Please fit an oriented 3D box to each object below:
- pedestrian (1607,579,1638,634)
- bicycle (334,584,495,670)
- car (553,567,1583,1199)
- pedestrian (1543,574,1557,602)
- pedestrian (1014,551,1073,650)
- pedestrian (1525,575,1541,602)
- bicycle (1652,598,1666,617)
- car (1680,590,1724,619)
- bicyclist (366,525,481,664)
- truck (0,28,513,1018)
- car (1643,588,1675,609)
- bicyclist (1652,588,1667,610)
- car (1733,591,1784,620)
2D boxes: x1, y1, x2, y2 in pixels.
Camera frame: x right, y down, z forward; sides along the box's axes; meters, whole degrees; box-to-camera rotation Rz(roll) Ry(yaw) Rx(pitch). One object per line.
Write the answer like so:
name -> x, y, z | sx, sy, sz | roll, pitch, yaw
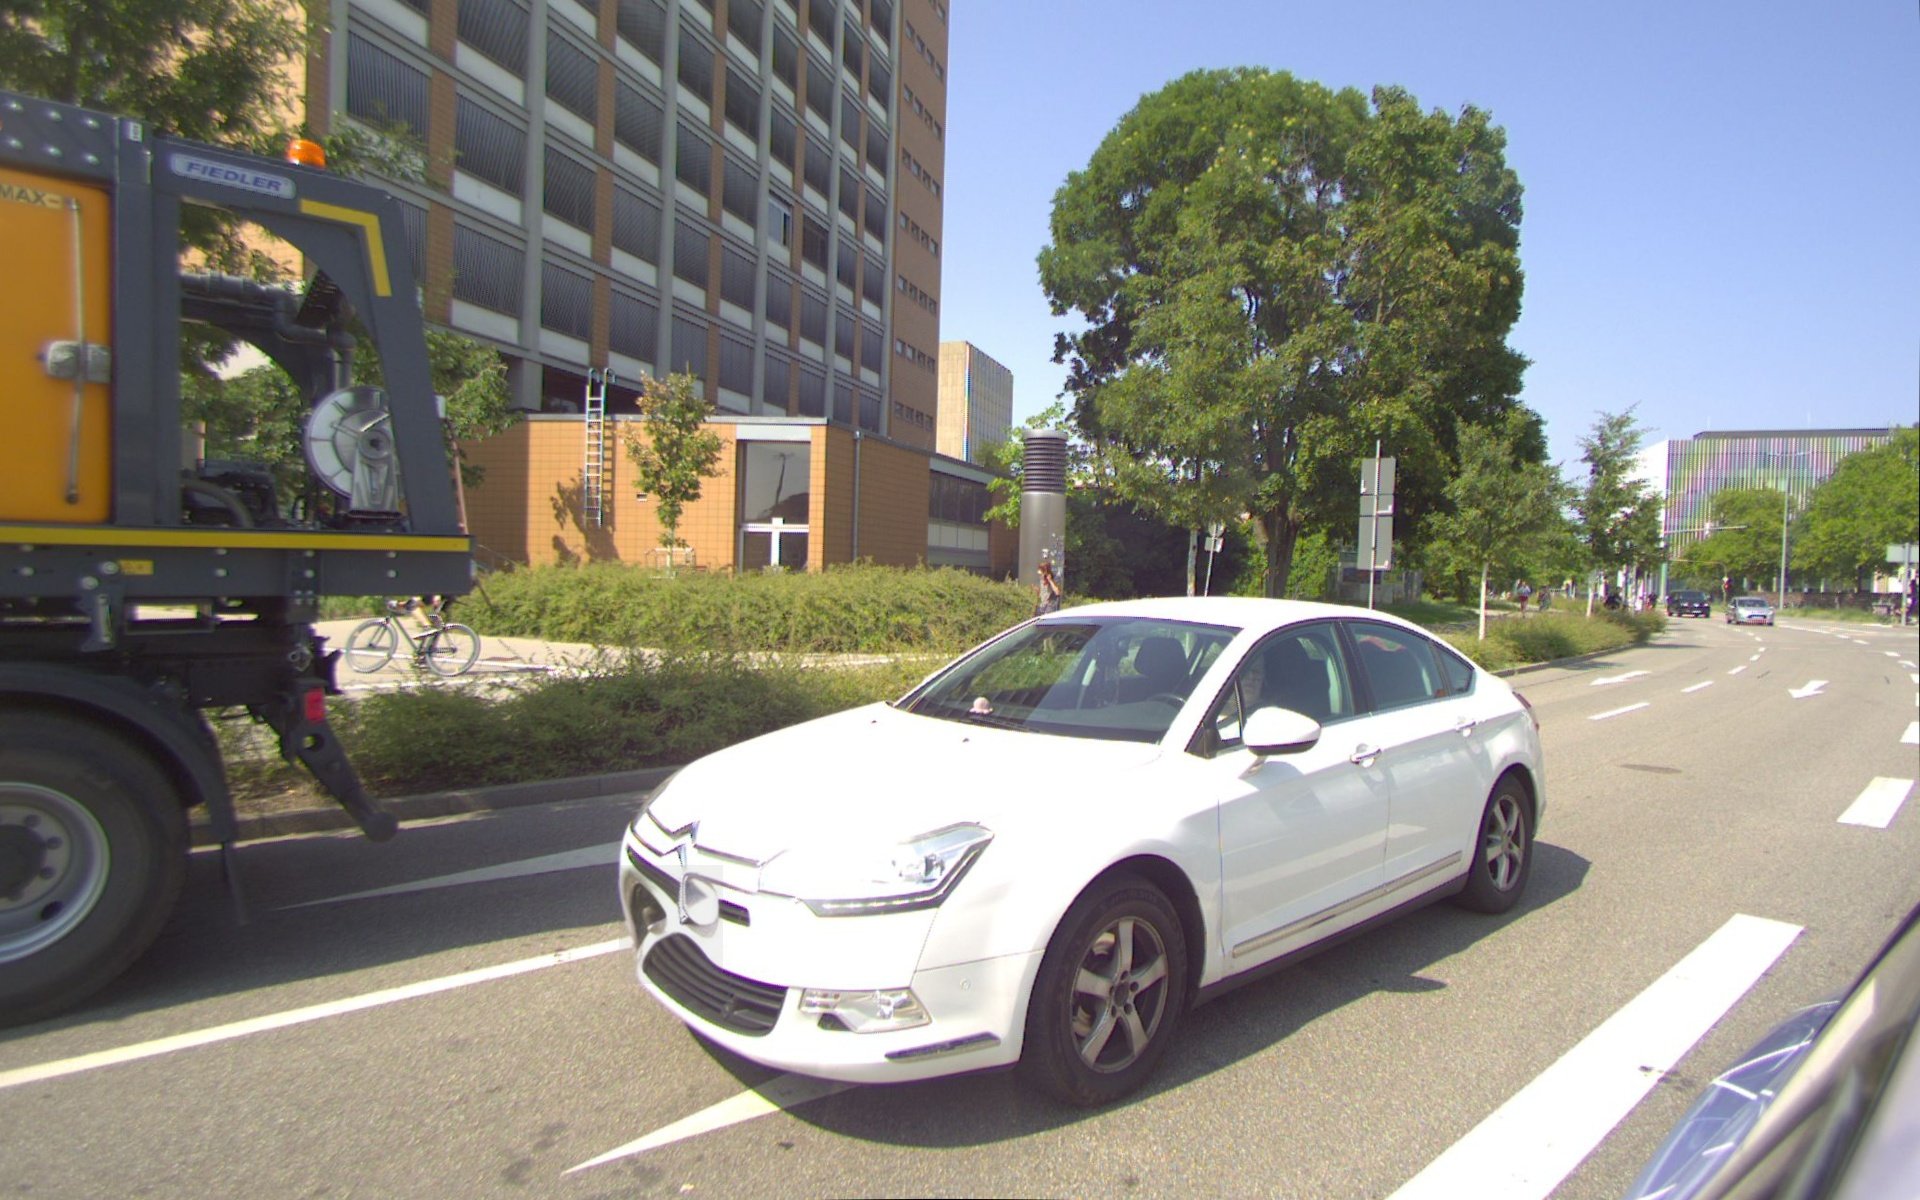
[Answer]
pedestrian -> 23.697, 0.223, 36.198 | 0.818, 1.926, 0.622 | 2, 1, 37
bicycle -> -6.666, 0.328, 12.394 | 1.747, 0.992, 0.358 | 1, 1, -2
car -> 0.866, 0.639, 4.348 | 4.528, 1.446, 1.772 | 0, 2, -41
pedestrian -> 28.489, -0.572, 48.835 | 0.572, 1.315, 0.432 | 0, 0, 32
pedestrian -> 1.497, 0.004, 18.109 | 0.792, 1.720, 0.671 | 1, 1, -43
pedestrian -> 27.903, -0.568, 49.275 | 0.630, 1.315, 0.481 | 0, 0, 32
bicycle -> 44.835, 0.485, 64.919 | 0.590, 1.183, 2.210 | 2, 2, 32
car -> 53.062, 0.301, 72.466 | 1.874, 1.943, 4.489 | 1, 1, 28
bicyclist -> -6.582, -0.080, 12.465 | 0.907, 1.625, 0.904 | 1, 1, 1
truck -> -5.272, -0.266, 3.092 | 6.736, 3.174, 2.498 | 0, 1, -39
car -> 50.287, -0.108, 72.863 | 1.637, 1.449, 3.775 | 1, 1, 30
bicyclist -> 44.815, -0.080, 64.852 | 0.674, 1.417, 1.038 | 2, 1, 31
car -> 44.907, 0.308, 56.987 | 1.646, 1.550, 4.485 | 0, 0, 30
